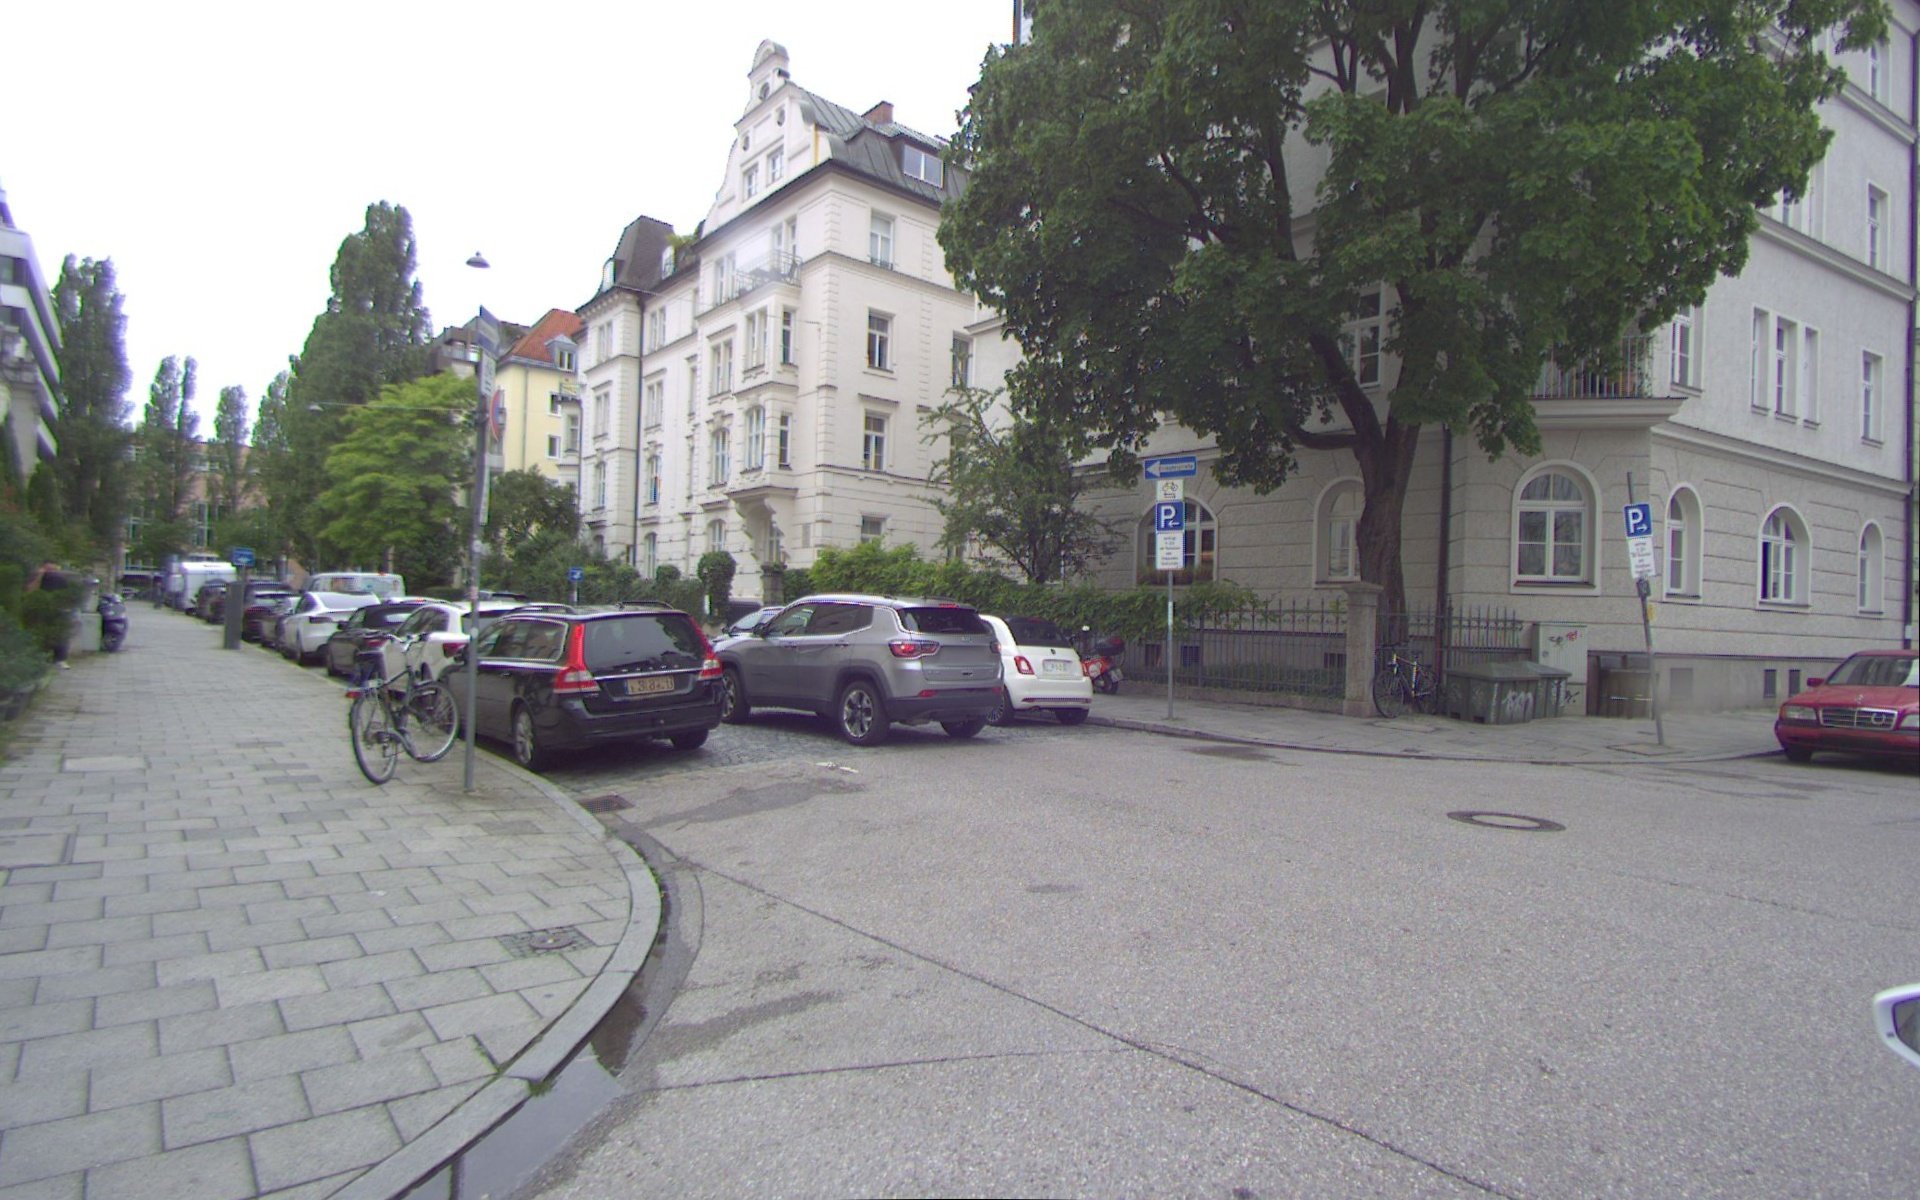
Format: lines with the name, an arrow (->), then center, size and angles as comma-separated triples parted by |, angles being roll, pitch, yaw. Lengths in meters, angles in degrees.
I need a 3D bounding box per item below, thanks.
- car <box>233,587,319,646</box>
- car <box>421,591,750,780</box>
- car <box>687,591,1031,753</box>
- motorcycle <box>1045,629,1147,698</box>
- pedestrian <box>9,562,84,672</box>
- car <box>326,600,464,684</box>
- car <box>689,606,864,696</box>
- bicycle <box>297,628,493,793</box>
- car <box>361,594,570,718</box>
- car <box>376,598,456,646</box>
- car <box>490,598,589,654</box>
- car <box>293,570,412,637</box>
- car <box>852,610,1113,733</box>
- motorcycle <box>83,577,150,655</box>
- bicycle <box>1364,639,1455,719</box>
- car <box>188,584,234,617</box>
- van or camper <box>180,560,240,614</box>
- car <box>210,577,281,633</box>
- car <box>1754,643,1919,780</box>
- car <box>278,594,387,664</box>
car -> -20.925, 0.477, 30.665 | 1.695, 1.669, 3.952 | 2, -1, -41
car -> -4.190, 0.712, 10.815 | 1.888, 1.536, 4.295 | -3, 3, -41
car -> -1.377, 0.747, 12.307 | 1.951, 1.629, 4.251 | 2, -2, -45
motorcycle -> 2.420, 1.111, 18.035 | 0.586, 1.126, 1.969 | 1, 0, -37
pedestrian -> -14.445, 0.270, 15.905 | 0.728, 1.678, 0.782 | 5, -3, -40
car -> -10.477, 0.720, 18.508 | 1.580, 1.359, 3.770 | 2, -1, -39
car -> -3.596, 0.907, 19.157 | 1.637, 1.493, 3.957 | 2, -1, -37
bicycle -> -4.619, 0.847, 8.379 | 0.597, 1.184, 1.834 | 3, -1, -2
car -> -7.348, 0.693, 14.711 | 1.671, 1.528, 4.211 | 0, 1, -42
car -> -16.649, 0.660, 30.691 | 1.593, 1.348, 2.919 | 2, -1, -40
car -> -12.731, 0.753, 30.295 | 1.674, 1.554, 3.825 | 2, -1, -40
car -> -24.140, 0.113, 39.882 | 4.523, 2.508, 2.158 | 1, -1, 32
car -> 0.196, 0.951, 14.753 | 1.671, 1.468, 3.955 | 2, -1, -38
motorcycle -> -17.276, 0.350, 20.562 | 0.956, 1.481, 2.854 | 2, -2, -41
bicycle -> 6.744, 1.156, 15.041 | 1.811, 1.067, 0.489 | 0, 1, -40
car -> -40.306, 0.035, 54.038 | 1.695, 1.669, 3.952 | 2, -1, -41
van or camper -> -44.404, -0.733, 59.420 | 2.409, 2.974, 5.308 | 2, -1, -41
car -> -25.848, 0.184, 36.288 | 1.695, 1.885, 3.952 | 2, -1, -41
car -> 11.695, 1.294, 12.401 | 4.181, 1.396, 1.721 | 2, -1, -33
car -> -14.519, 0.630, 23.154 | 1.607, 1.461, 3.954 | 2, -1, -39
